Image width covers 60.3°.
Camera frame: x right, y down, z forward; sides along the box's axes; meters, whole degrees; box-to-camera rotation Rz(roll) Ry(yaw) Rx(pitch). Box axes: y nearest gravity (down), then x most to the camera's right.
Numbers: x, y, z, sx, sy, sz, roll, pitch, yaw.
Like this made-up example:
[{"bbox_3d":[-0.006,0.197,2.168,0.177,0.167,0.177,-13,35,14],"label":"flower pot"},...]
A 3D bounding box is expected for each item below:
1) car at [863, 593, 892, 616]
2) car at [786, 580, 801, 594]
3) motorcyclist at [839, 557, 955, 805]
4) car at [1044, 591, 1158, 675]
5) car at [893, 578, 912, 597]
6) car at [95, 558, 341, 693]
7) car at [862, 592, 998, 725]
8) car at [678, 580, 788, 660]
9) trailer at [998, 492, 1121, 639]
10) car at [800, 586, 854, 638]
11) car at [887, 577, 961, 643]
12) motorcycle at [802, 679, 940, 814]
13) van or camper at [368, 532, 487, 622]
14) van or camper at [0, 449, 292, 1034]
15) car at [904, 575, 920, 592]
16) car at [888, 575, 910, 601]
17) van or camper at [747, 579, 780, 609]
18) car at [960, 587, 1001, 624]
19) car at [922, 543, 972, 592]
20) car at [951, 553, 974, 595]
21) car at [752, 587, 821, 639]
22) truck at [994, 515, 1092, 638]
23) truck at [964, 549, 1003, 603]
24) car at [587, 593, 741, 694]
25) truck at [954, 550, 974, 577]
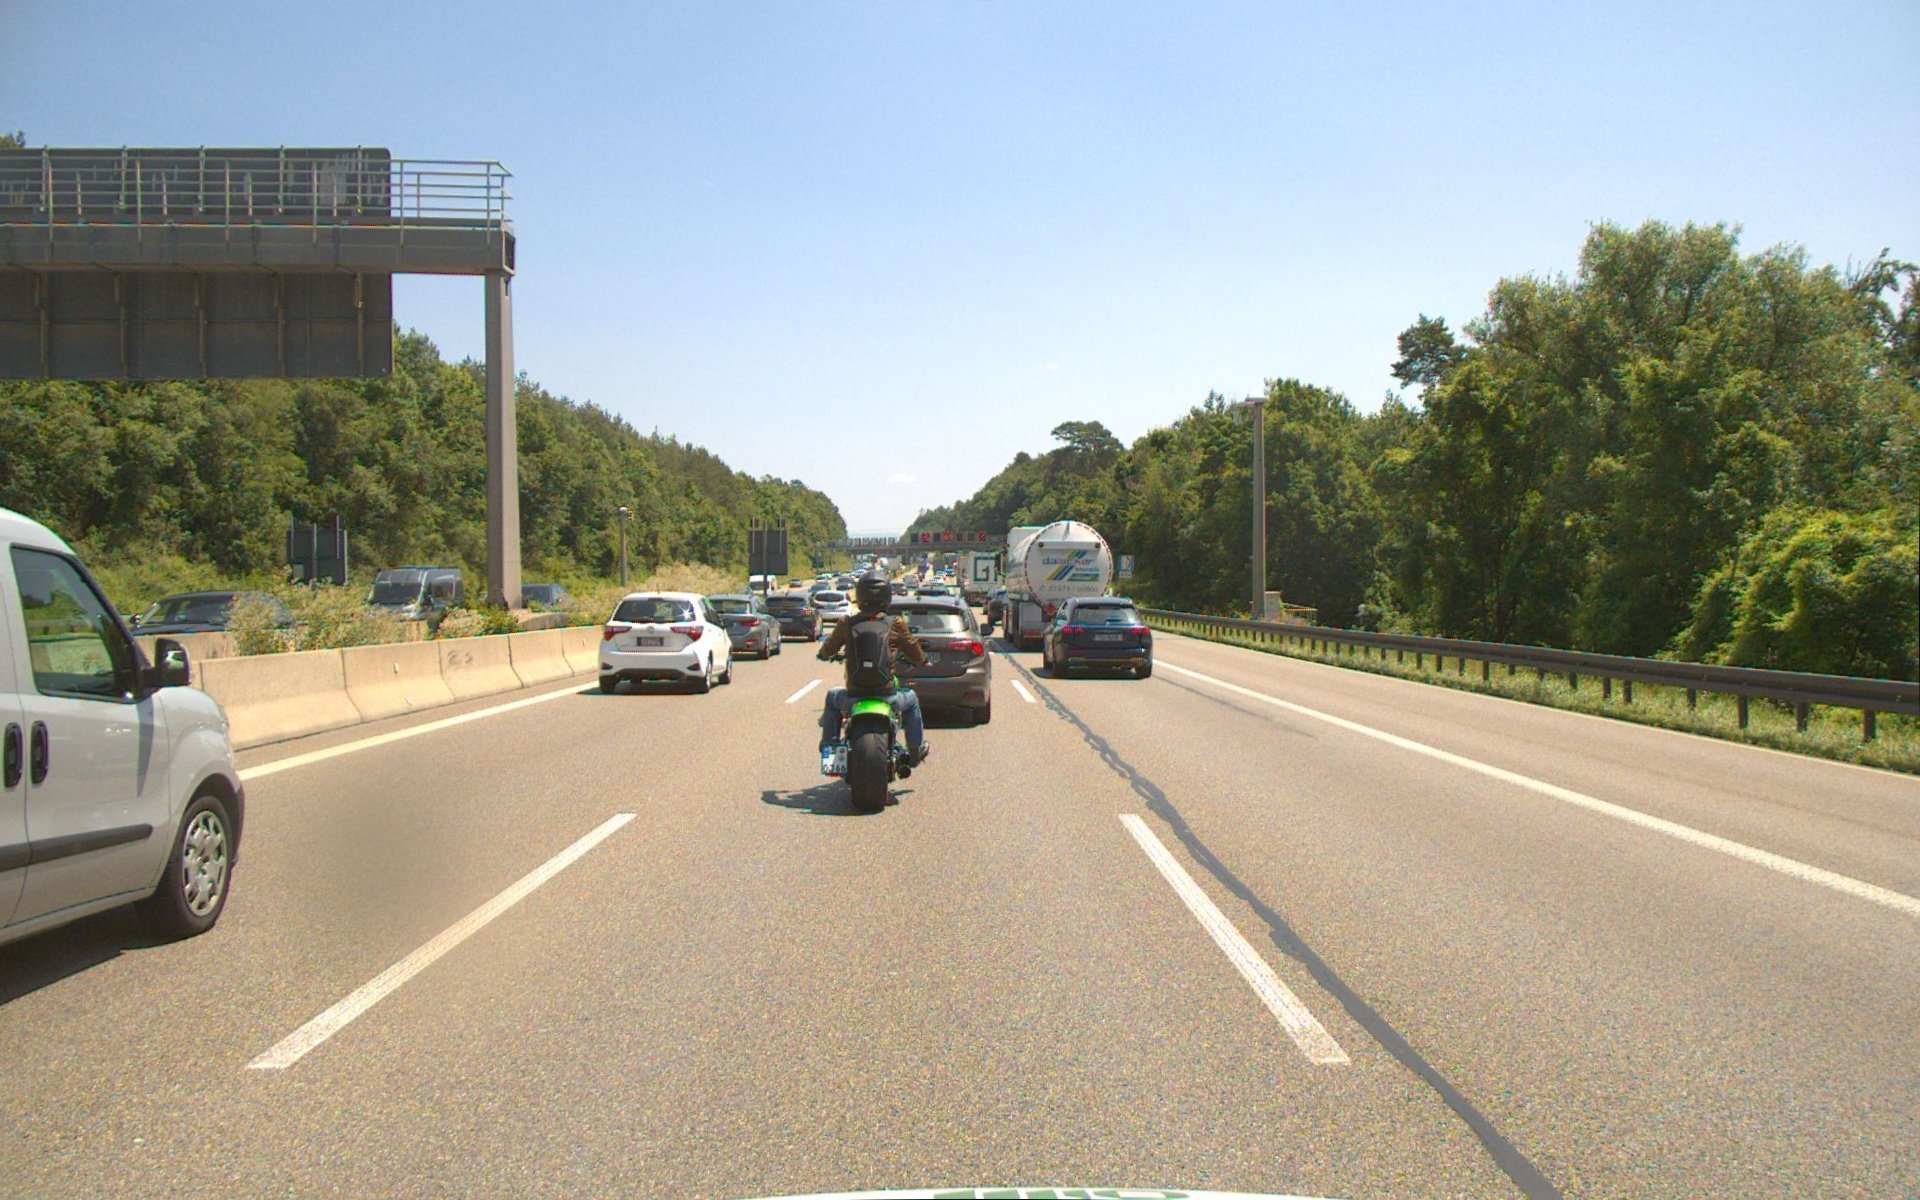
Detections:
[{"bbox_3d":[-5.495,0.301,110.220,1.728,1.467,4.000,0,0,0],"label":"car"},{"bbox_3d":[-25.480,-1.962,252.642,1.953,2.049,3.999,1,0,-2],"label":"car"},{"bbox_3d":[-0.445,0.573,12.025,0.782,1.717,1.016,1,-1,-1],"label":"motorcyclist"},{"bbox_3d":[2.661,0.641,32.139,1.755,1.484,4.623,1,-1,-1],"label":"car"},{"bbox_3d":[-5.280,-1.143,152.194,1.626,1.627,3.999,0,-1,0],"label":"car"},{"bbox_3d":[-12.358,0.435,27.985,1.953,2.049,5.152,1,-1,-2],"label":"car"},{"bbox_3d":[-0.355,0.664,20.542,1.509,1.476,3.999,1,0,-1],"label":"car"},{"bbox_3d":[-5.189,0.482,38.333,1.953,1.713,4.329,1,-1,-1],"label":"car"},{"bbox_3d":[2.678,-0.788,47.939,2.770,3.735,10.729,1,-1,-1],"label":"trailer"},{"bbox_3d":[-5.493,0.514,68.560,1.953,2.049,3.999,1,-1,-1],"label":"car"},{"bbox_3d":[-1.018,0.312,46.089,1.953,1.741,3.998,1,-1,-2],"label":"car"},{"bbox_3d":[-0.611,1.039,12.298,0.917,0.807,2.298,1,0,-1],"label":"motorcycle"},{"bbox_3d":[-18.591,-0.728,58.119,2.110,2.909,6.650,1,-1,-2],"label":"van or camper"},{"bbox_3d":[-4.042,0.451,5.519,1.815,1.913,4.560,1,0,-1],"label":"van or camper"},{"bbox_3d":[-5.980,-2.087,206.409,1.953,2.049,3.999,0,0,-1],"label":"car"},{"bbox_3d":[-4.896,-0.920,132.730,1.626,2.013,3.999,0,-1,0],"label":"car"},{"bbox_3d":[-16.773,-0.492,141.217,2.108,2.465,6.194,1,-1,-1],"label":"van or camper"},{"bbox_3d":[0.891,0.255,73.503,1.740,1.554,3.999,1,-1,-1],"label":"car"},{"bbox_3d":[-0.559,-1.281,66.807,1.953,1.806,3.998,1,-1,-2],"label":"car"},{"bbox_3d":[0.222,-2.551,166.449,2.123,3.961,9.327,1,-1,-1],"label":"car"},{"bbox_3d":[-5.262,0.425,50.567,1.954,1.490,3.996,1,-1,-5],"label":"car"},{"bbox_3d":[2.608,-0.673,53.893,2.770,3.735,6.428,1,-1,-1],"label":"truck"},{"bbox_3d":[1.877,-1.800,127.535,2.794,3.888,7.189,1,-1,2],"label":"truck"},{"bbox_3d":[-4.578,0.623,26.131,1.740,1.435,3.999,1,0,-1],"label":"car"},{"bbox_3d":[0.482,-5.120,233.995,2.641,3.465,10.476,0,0,-1],"label":"truck"}]
